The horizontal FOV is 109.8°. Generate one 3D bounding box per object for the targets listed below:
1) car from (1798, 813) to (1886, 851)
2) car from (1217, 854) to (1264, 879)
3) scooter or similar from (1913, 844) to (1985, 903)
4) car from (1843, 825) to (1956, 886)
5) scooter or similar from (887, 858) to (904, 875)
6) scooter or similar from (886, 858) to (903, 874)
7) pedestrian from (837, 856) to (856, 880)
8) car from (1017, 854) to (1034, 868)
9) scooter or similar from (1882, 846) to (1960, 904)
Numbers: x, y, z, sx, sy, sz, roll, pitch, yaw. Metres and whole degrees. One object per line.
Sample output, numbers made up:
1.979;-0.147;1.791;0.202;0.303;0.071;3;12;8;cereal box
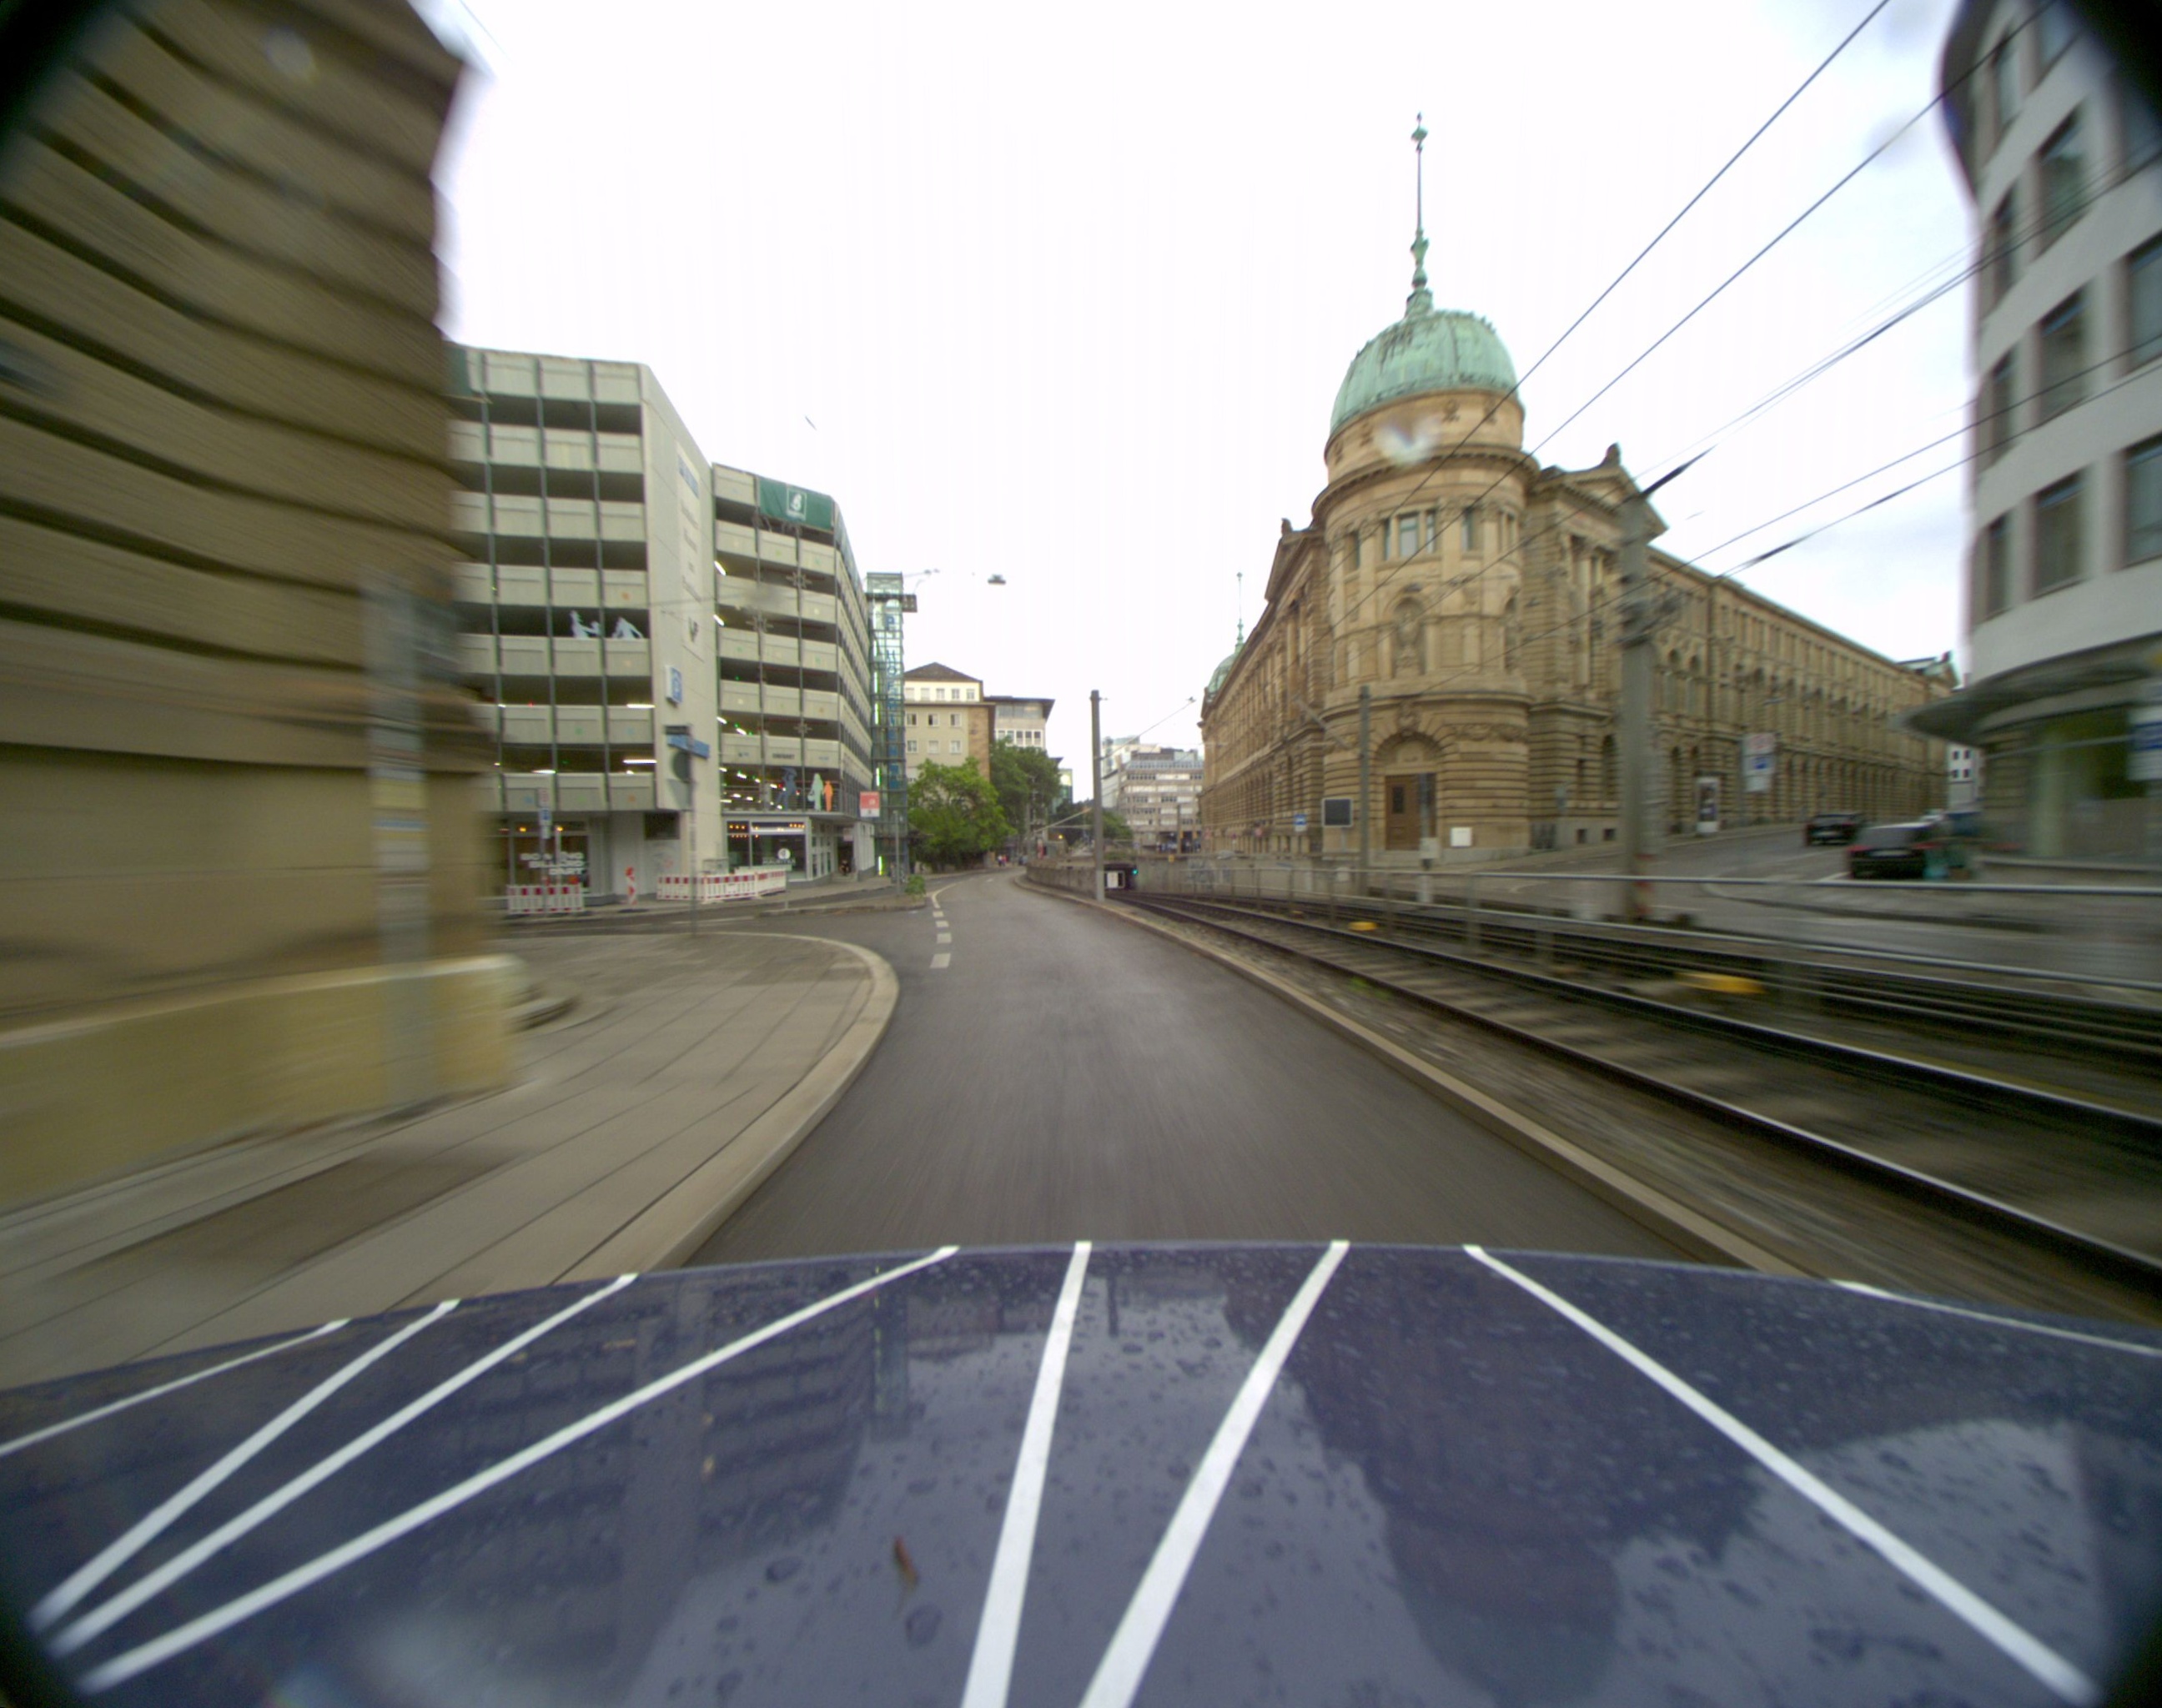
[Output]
37.007;-1.069;36.954;4.005;1.631;1.995;-3;2;-29;car
9.972;0.739;47.846;1.999;1.379;3.998;-2;1;-1;car
19.029;0.407;16.695;0.410;1.194;1.562;-2;2;23;scooter or similar
22.225;-0.008;20.581;4.334;1.390;1.780;-3;2;-39;car
-13.322;0.897;54.532;1.078;1.167;0.464;0;0;-32;scooter or similar
-13.814;0.849;56.243;1.078;1.167;0.464;0;0;-32;scooter or similar
-13.780;0.826;44.660;0.905;1.375;1.031;1;1;-11;pedestrian
-7.876;1.015;107.625;2.000;1.805;3.996;-3;1;-8;car
18.506;0.434;16.776;0.410;1.194;1.561;-2;1;17;scooter or similar
